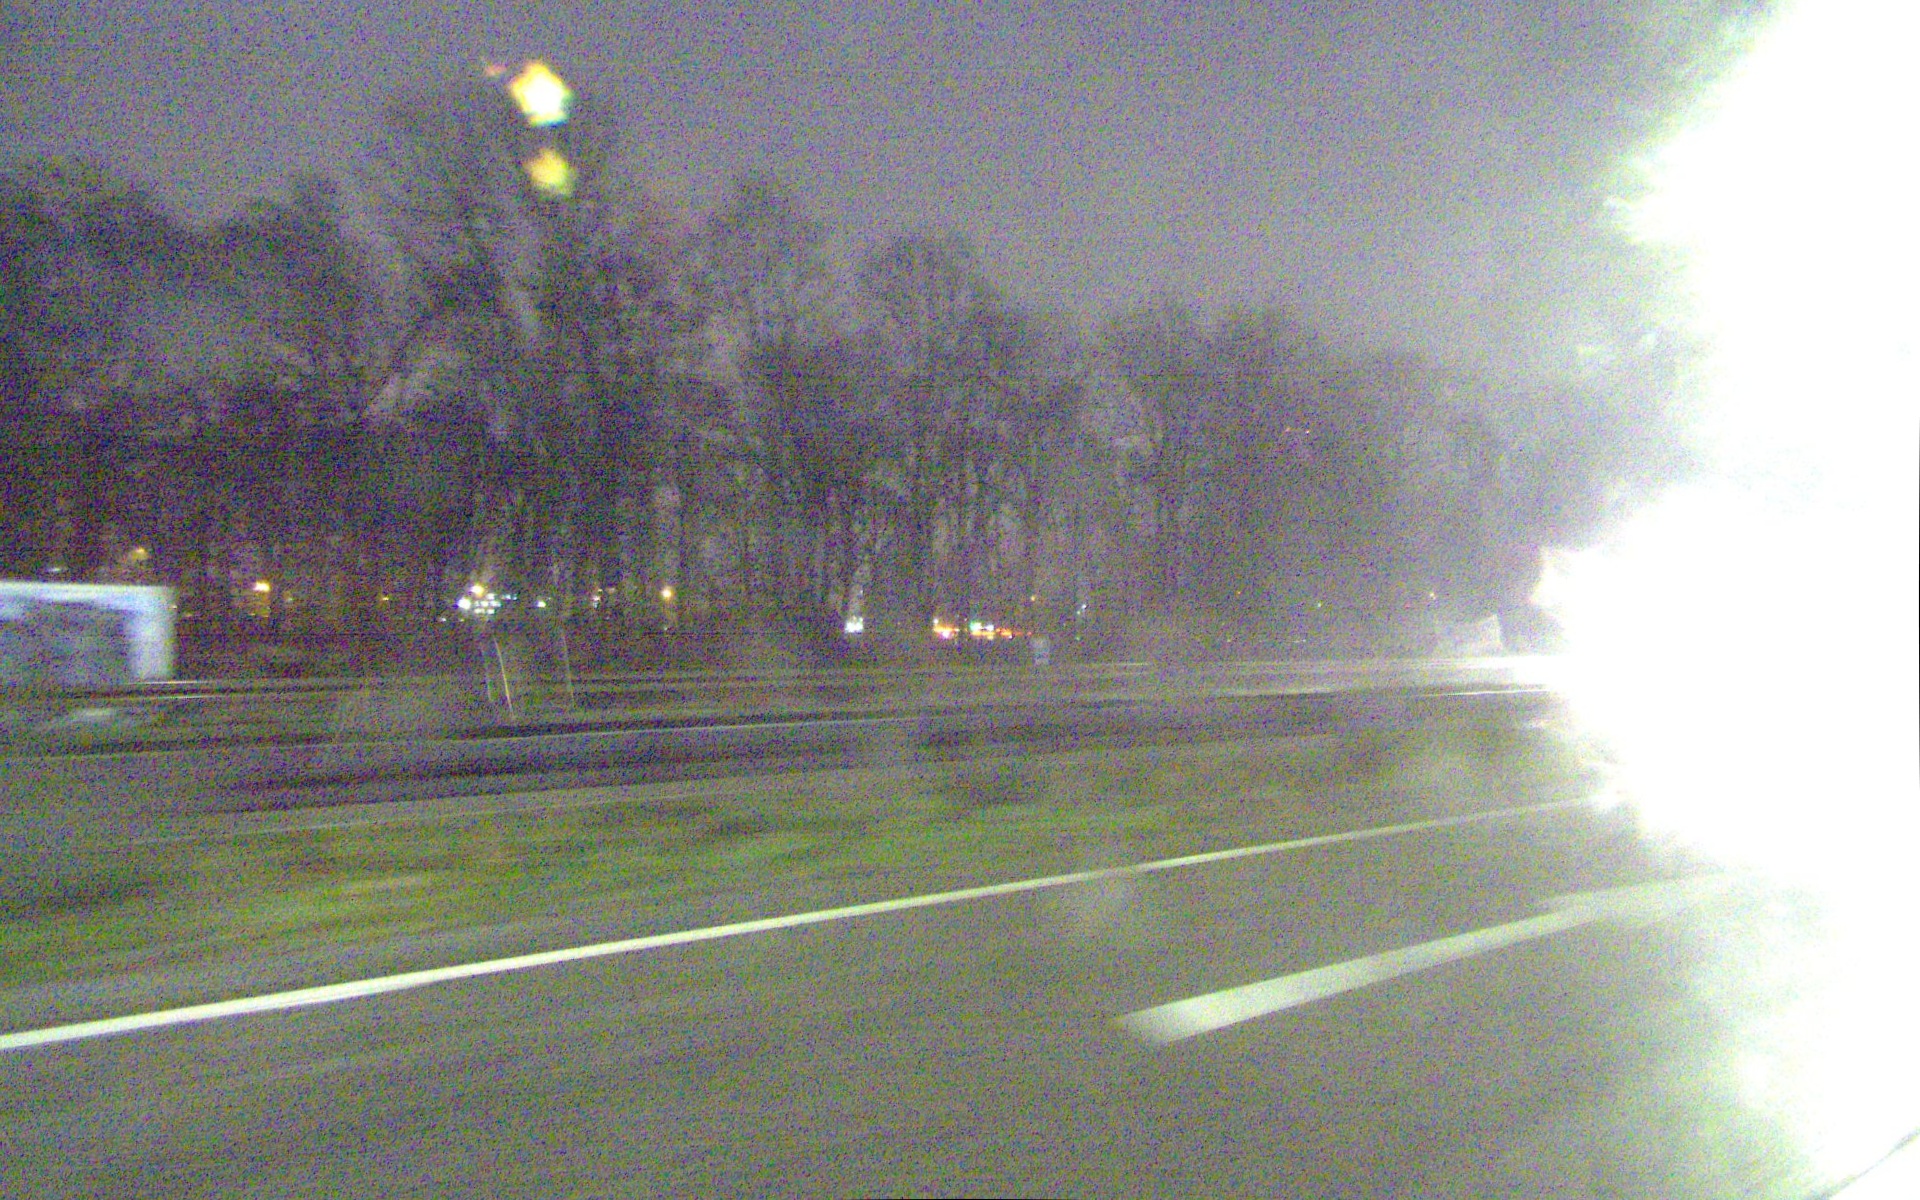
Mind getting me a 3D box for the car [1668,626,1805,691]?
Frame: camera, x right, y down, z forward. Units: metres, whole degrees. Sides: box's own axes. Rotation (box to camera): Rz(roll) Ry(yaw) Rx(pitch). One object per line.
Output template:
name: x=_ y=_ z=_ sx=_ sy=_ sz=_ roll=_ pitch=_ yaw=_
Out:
car: x=21.195 y=1.598 z=27.380 sx=3.789 sy=1.572 sz=1.593 roll=3 pitch=0 yaw=-30
